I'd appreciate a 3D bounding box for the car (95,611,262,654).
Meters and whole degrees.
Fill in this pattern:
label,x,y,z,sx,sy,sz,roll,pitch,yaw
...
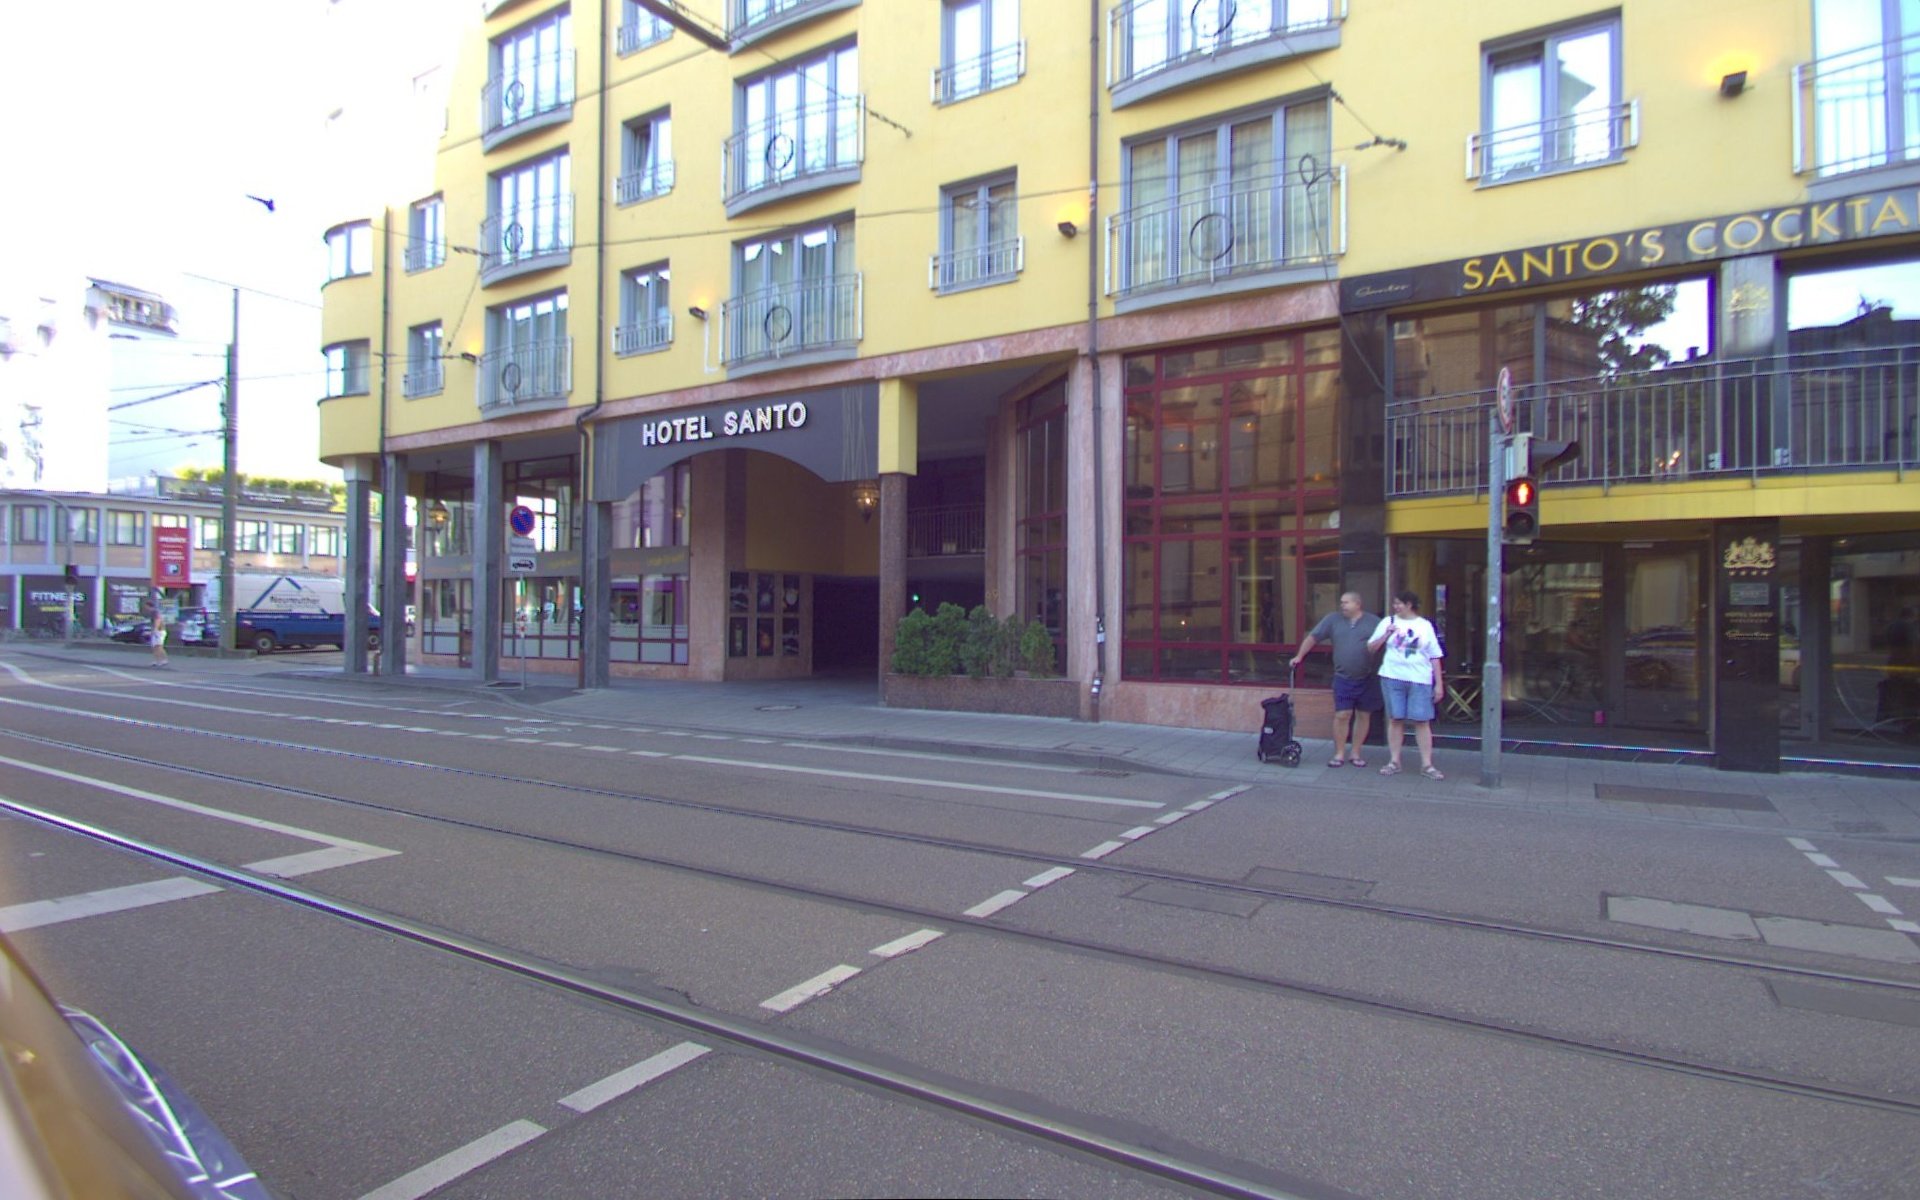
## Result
label,x,y,z,sx,sy,sz,roll,pitch,yaw
car,-30.708,1.291,39.944,1.873,1.595,4.856,-1,-2,32

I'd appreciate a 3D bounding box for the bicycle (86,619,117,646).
label,x,y,z,sx,sy,sz,roll,pitch,yaw
bicycle,-38.436,1.458,45.288,1.824,1.196,0.440,-1,-2,30

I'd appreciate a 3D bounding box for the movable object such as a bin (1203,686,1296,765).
label,x,y,z,sx,sy,sz,roll,pitch,yaw
movable object such as a bin,3.015,1.294,10.554,0.838,0.721,0.380,-1,3,33

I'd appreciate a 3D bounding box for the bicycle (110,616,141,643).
label,x,y,z,sx,sy,sz,roll,pitch,yaw
bicycle,-37.793,1.330,45.847,1.824,1.196,0.445,-1,-2,30

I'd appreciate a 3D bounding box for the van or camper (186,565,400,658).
label,x,y,z,sx,sy,sz,roll,pitch,yaw
van or camper,-22.281,0.434,34.077,2.308,2.849,5.562,-1,-2,32

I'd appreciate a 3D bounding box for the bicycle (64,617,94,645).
label,x,y,z,sx,sy,sz,roll,pitch,yaw
bicycle,-38.619,1.349,44.370,1.825,1.196,0.437,-1,-2,32

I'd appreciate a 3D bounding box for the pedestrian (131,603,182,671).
label,x,y,z,sx,sy,sz,roll,pitch,yaw
pedestrian,-22.398,1.027,28.210,0.906,1.846,0.827,-1,-2,32

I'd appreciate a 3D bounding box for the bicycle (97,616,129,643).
label,x,y,z,sx,sy,sz,roll,pitch,yaw
bicycle,-38.166,1.311,45.596,1.824,1.196,0.445,-1,-2,30

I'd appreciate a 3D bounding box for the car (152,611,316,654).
label,x,y,z,sx,sy,sz,roll,pitch,yaw
car,-26.568,1.193,37.194,1.873,1.487,4.553,-1,-2,32

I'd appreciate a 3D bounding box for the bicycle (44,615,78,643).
label,x,y,z,sx,sy,sz,roll,pitch,yaw
bicycle,-39.280,1.258,44.199,1.822,1.196,0.443,-1,-2,26

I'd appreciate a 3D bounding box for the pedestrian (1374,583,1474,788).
label,x,y,z,sx,sy,sz,roll,pitch,yaw
pedestrian,4.545,0.786,9.881,0.751,1.832,1.035,-1,3,31

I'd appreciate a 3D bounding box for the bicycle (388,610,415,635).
label,x,y,z,sx,sy,sz,roll,pitch,yaw
bicycle,-26.361,1.071,47.770,1.829,1.196,0.427,-1,-2,39

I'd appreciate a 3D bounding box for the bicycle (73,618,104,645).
label,x,y,z,sx,sy,sz,roll,pitch,yaw
bicycle,-38.685,1.410,44.923,1.824,1.196,0.445,-1,-2,30

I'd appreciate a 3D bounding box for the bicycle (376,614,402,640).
label,x,y,z,sx,sy,sz,roll,pitch,yaw
bicycle,-26.714,1.288,47.333,1.829,1.196,0.427,-1,-2,39

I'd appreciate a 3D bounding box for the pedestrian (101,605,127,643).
label,x,y,z,sx,sy,sz,roll,pitch,yaw
pedestrian,-38.027,1.079,45.468,0.680,1.710,0.676,-1,-2,30

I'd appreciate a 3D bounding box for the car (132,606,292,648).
label,x,y,z,sx,sy,sz,roll,pitch,yaw
car,-28.460,1.035,38.640,1.873,1.487,4.553,-1,-2,32

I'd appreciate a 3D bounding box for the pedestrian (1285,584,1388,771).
label,x,y,z,sx,sy,sz,roll,pitch,yaw
pedestrian,3.843,0.749,10.309,0.798,1.784,0.741,-1,3,34

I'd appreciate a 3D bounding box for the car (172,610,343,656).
label,x,y,z,sx,sy,sz,roll,pitch,yaw
car,-24.382,1.157,35.300,1.873,1.487,4.553,-1,-2,32
